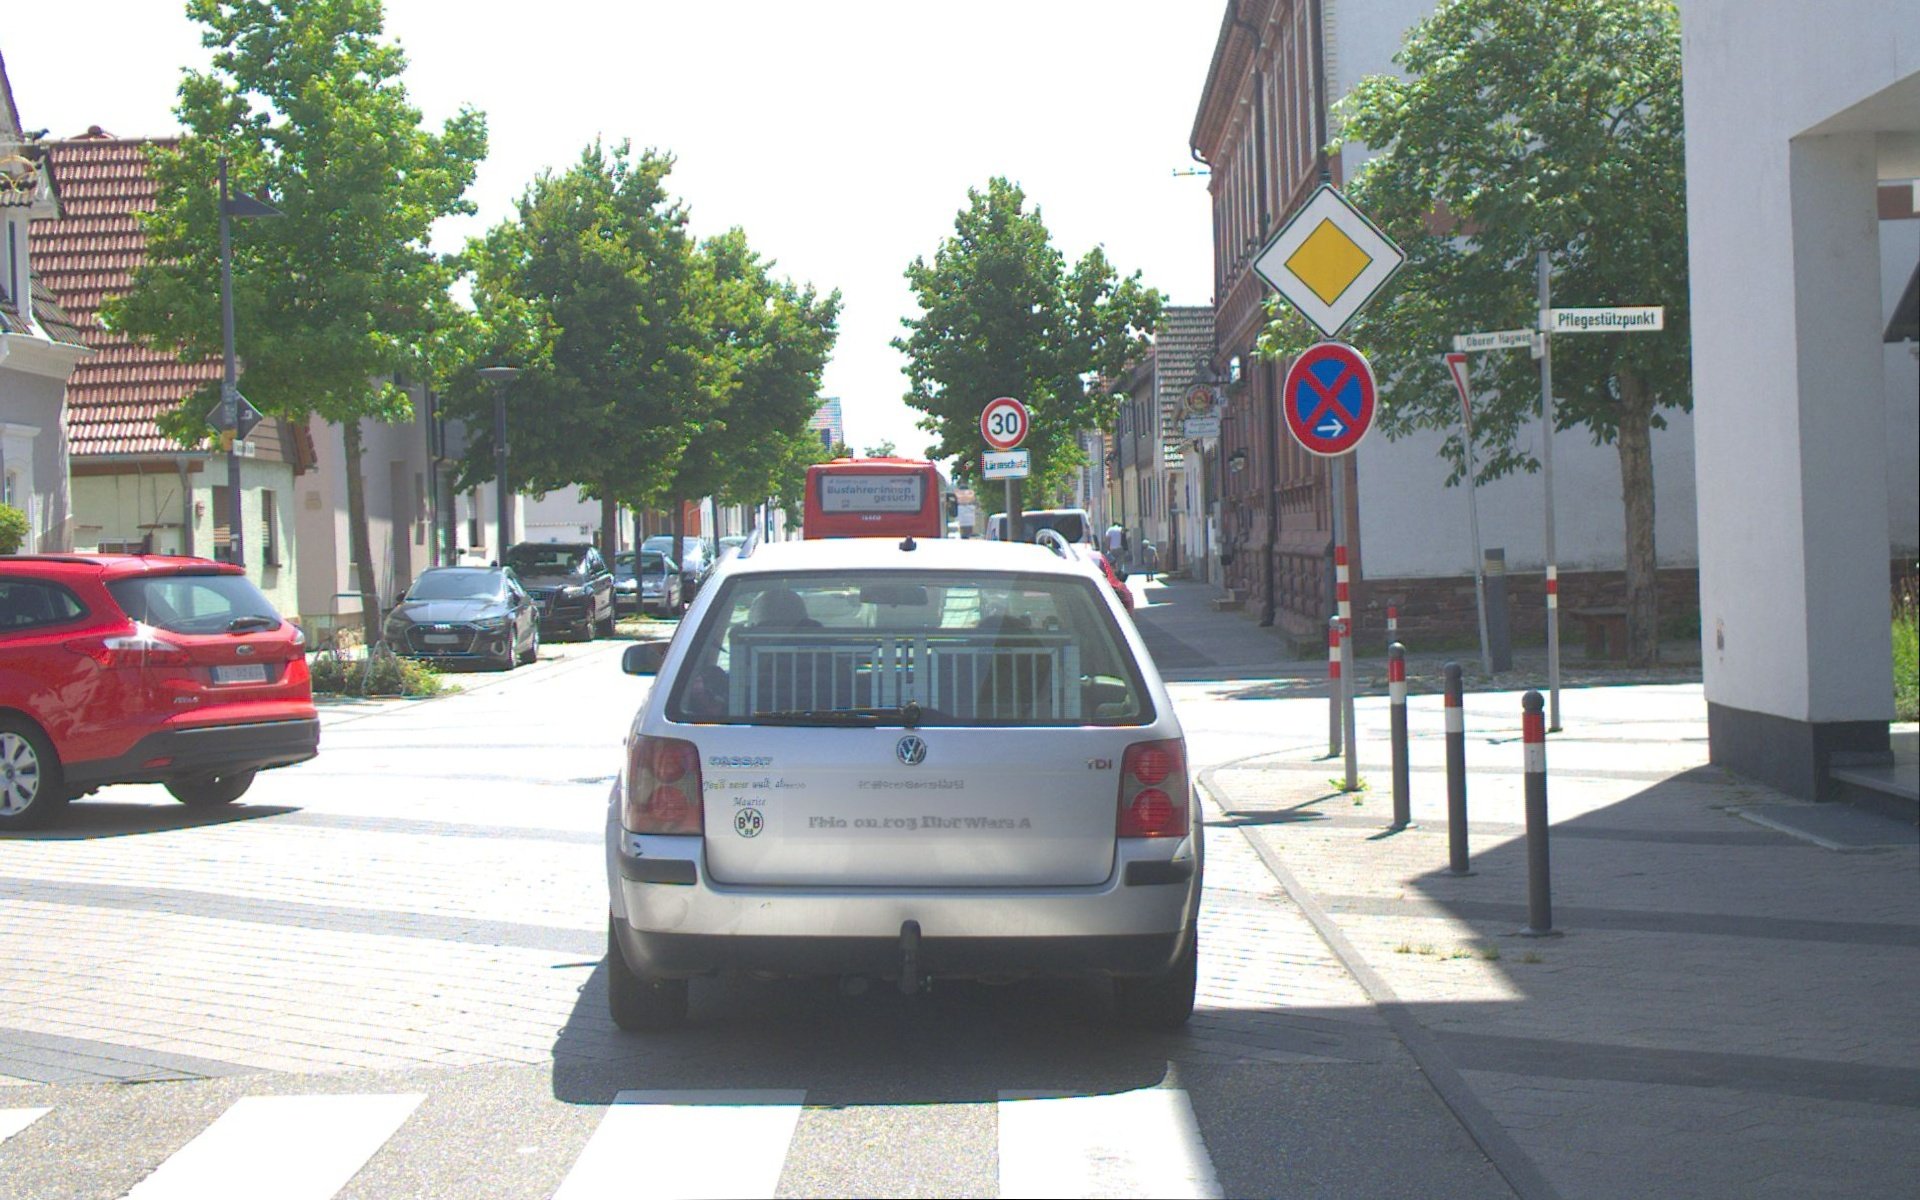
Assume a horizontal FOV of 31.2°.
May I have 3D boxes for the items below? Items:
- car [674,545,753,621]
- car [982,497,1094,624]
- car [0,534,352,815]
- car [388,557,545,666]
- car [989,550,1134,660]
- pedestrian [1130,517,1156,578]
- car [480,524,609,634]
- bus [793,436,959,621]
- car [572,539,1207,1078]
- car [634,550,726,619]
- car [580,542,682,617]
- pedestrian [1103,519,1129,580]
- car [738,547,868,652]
[{"bbox_3d":[-6.744,-0.487,94.337,1.811,1.989,4.000,-2,1,0],"label":"car"},{"bbox_3d":[1.320,-0.692,59.602,1.788,2.075,3.626,-2,1,0],"label":"car"},{"bbox_3d":[-5.429,0.405,19.288,3.673,1.425,1.680,-1,1,27],"label":"car"},{"bbox_3d":[-7.007,0.135,49.132,1.605,1.433,4.065,-2,1,0],"label":"car"},{"bbox_3d":[1.269,0.036,44.347,1.719,1.304,3.626,-2,1,0],"label":"car"},{"bbox_3d":[5.062,-1.463,95.051,0.606,1.661,0.789,-2,1,-1],"label":"pedestrian"},{"bbox_3d":[-7.307,-0.392,60.739,1.764,1.831,3.789,-2,1,0],"label":"car"},{"bbox_3d":[-1.512,-1.367,68.268,2.740,3.287,12.705,-1,1,1],"label":"bus"},{"bbox_3d":[-0.179,0.524,10.941,1.677,1.425,3.679,0,1,0],"label":"car"},{"bbox_3d":[-6.669,-0.387,82.188,1.811,1.553,4.000,-2,1,0],"label":"car"},{"bbox_3d":[-7.207,-0.479,75.610,1.811,1.553,4.000,-2,1,0],"label":"car"},{"bbox_3d":[4.324,-1.411,95.358,0.606,1.661,0.789,-2,1,-1],"label":"pedestrian"},{"bbox_3d":[-2.197,-0.031,48.946,1.593,1.425,3.679,0,1,1],"label":"car"}]
